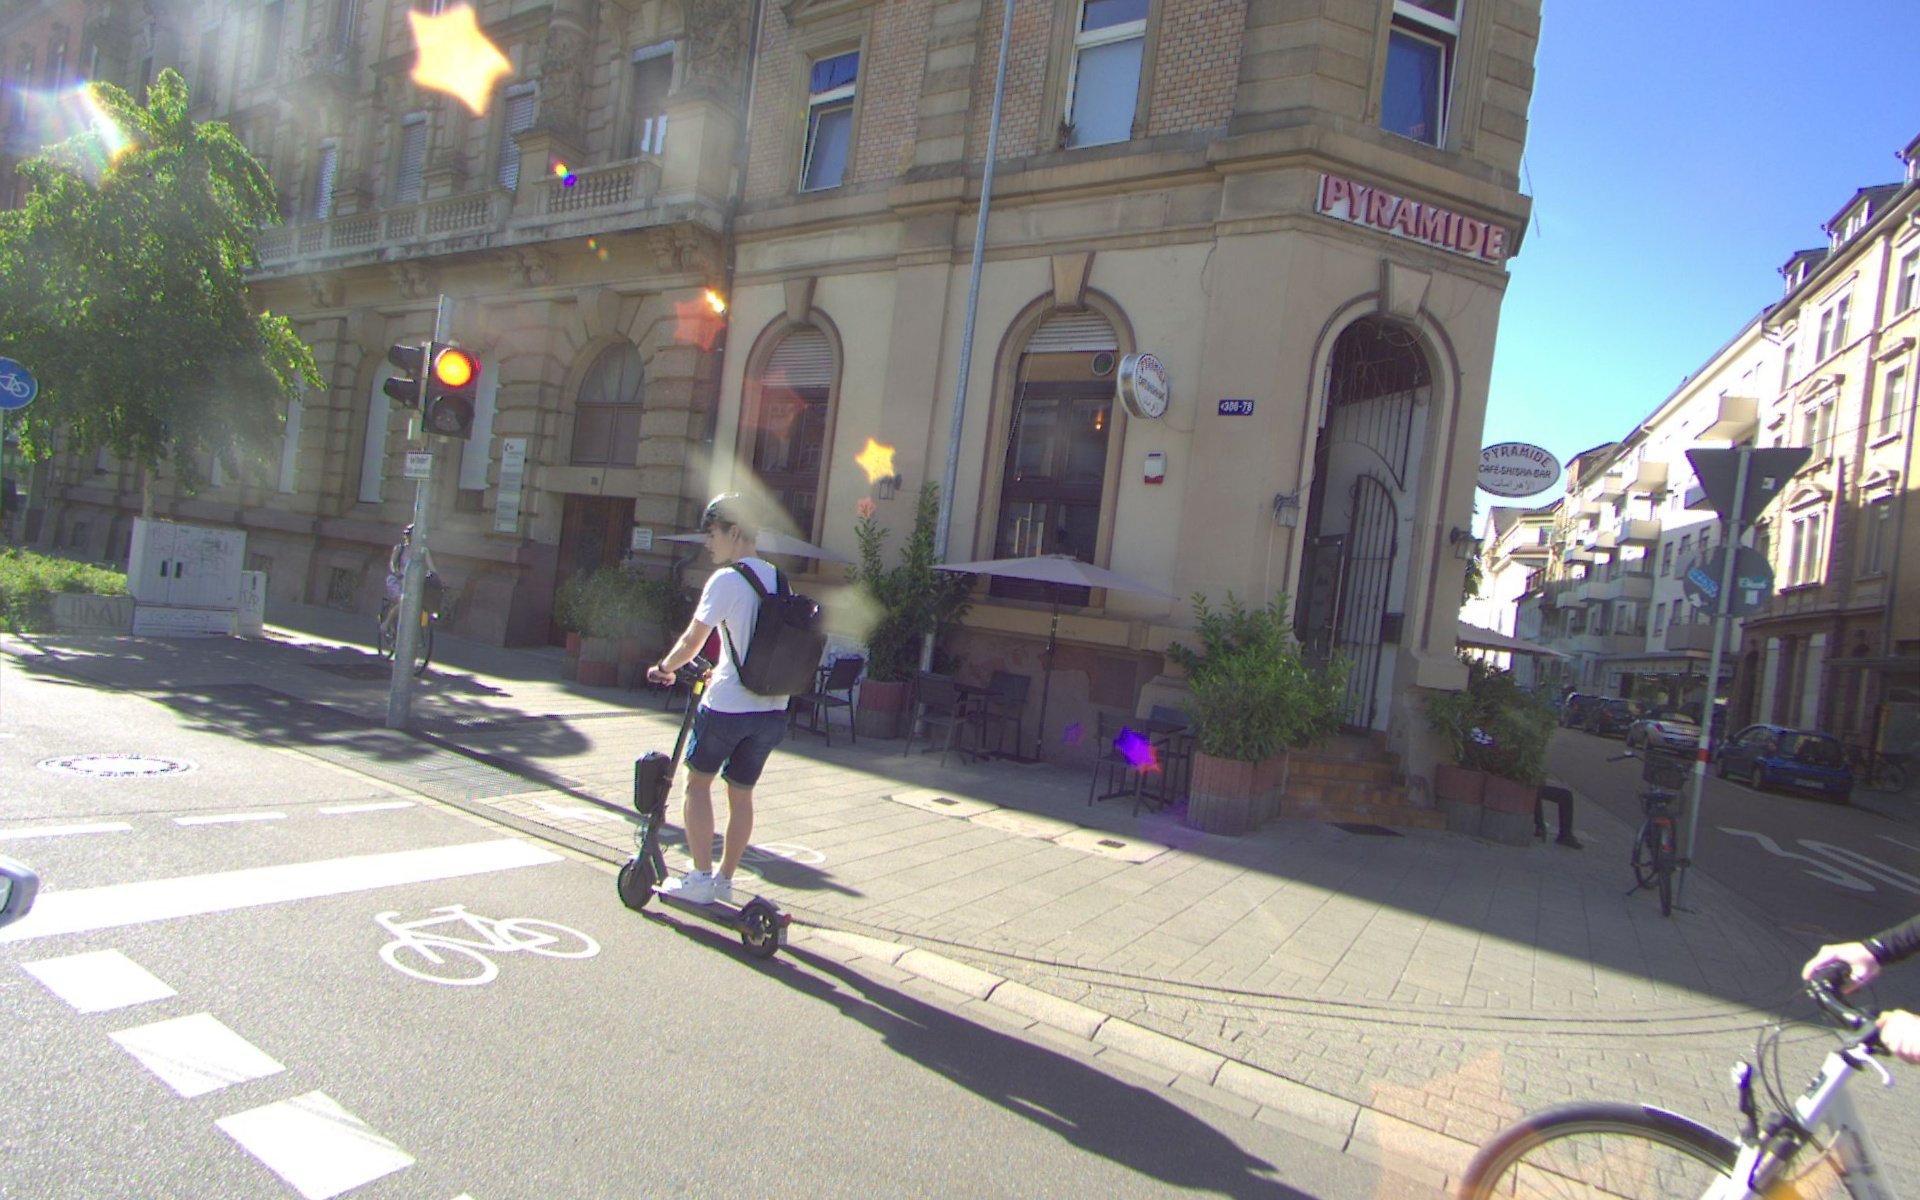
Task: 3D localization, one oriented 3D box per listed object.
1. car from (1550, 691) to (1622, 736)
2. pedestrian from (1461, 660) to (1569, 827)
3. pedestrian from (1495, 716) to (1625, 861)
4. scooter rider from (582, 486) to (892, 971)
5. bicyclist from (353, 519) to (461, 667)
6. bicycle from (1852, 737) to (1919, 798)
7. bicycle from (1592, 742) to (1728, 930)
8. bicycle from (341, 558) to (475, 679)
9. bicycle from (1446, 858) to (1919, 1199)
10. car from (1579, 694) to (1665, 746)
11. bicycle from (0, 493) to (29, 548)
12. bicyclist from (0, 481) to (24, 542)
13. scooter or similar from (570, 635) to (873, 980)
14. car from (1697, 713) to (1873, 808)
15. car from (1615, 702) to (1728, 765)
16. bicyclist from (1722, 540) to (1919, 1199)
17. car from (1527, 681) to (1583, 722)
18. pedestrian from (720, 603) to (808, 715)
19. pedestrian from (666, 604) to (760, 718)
[{"bbox_3d":[25.850,4.651,41.659,1.769,1.449,3.773,7,-1,22],"label":"car"},{"bbox_3d":[6.573,1.672,11.970,0.852,1.781,0.909,7,-1,25],"label":"pedestrian"},{"bbox_3d":[6.059,1.874,10.227,0.917,1.228,0.852,7,-1,25],"label":"pedestrian"},{"bbox_3d":[-0.980,0.512,4.470,0.886,1.882,0.668,7,-1,31],"label":"scooter rider"},{"bbox_3d":[-6.704,-0.088,12.196,0.946,1.659,0.666,7,0,37],"label":"bicyclist"},{"bbox_3d":[22.154,3.959,23.559,0.621,1.192,2.014,7,0,1],"label":"bicycle"},{"bbox_3d":[5.695,1.840,8.210,0.643,1.186,1.818,11,2,35],"label":"bicycle"},{"bbox_3d":[-6.746,0.211,12.254,1.870,1.237,0.583,7,0,36],"label":"bicycle"},{"bbox_3d":[1.861,1.246,1.780,1.762,1.105,0.558,7,-2,31],"label":"bicycle"},{"bbox_3d":[24.069,4.312,36.715,1.769,1.449,3.773,7,-1,22],"label":"car"},{"bbox_3d":[-25.378,-2.125,26.658,1.869,1.349,0.615,7,4,33],"label":"bicycle"},{"bbox_3d":[-25.315,-2.365,26.593,0.788,1.552,0.660,7,5,33],"label":"bicyclist"},{"bbox_3d":[-1.081,0.860,4.507,1.151,1.240,0.492,7,-2,31],"label":"scooter or similar"},{"bbox_3d":[18.491,3.530,22.775,1.769,1.437,4.000,9,0,22],"label":"car"},{"bbox_3d":[21.790,4.049,30.986,1.769,1.350,4.000,9,0,22],"label":"car"},{"bbox_3d":[1.929,0.851,1.686,0.854,1.731,0.781,7,-2,31],"label":"bicyclist"},{"bbox_3d":[30.114,5.106,51.019,1.769,1.685,3.772,7,-1,23],"label":"car"},{"bbox_3d":[-2.374,0.711,12.196,0.624,1.252,0.706,7,2,31],"label":"pedestrian"},{"bbox_3d":[-2.811,0.685,11.466,0.624,1.193,0.706,7,2,31],"label":"pedestrian"}]
